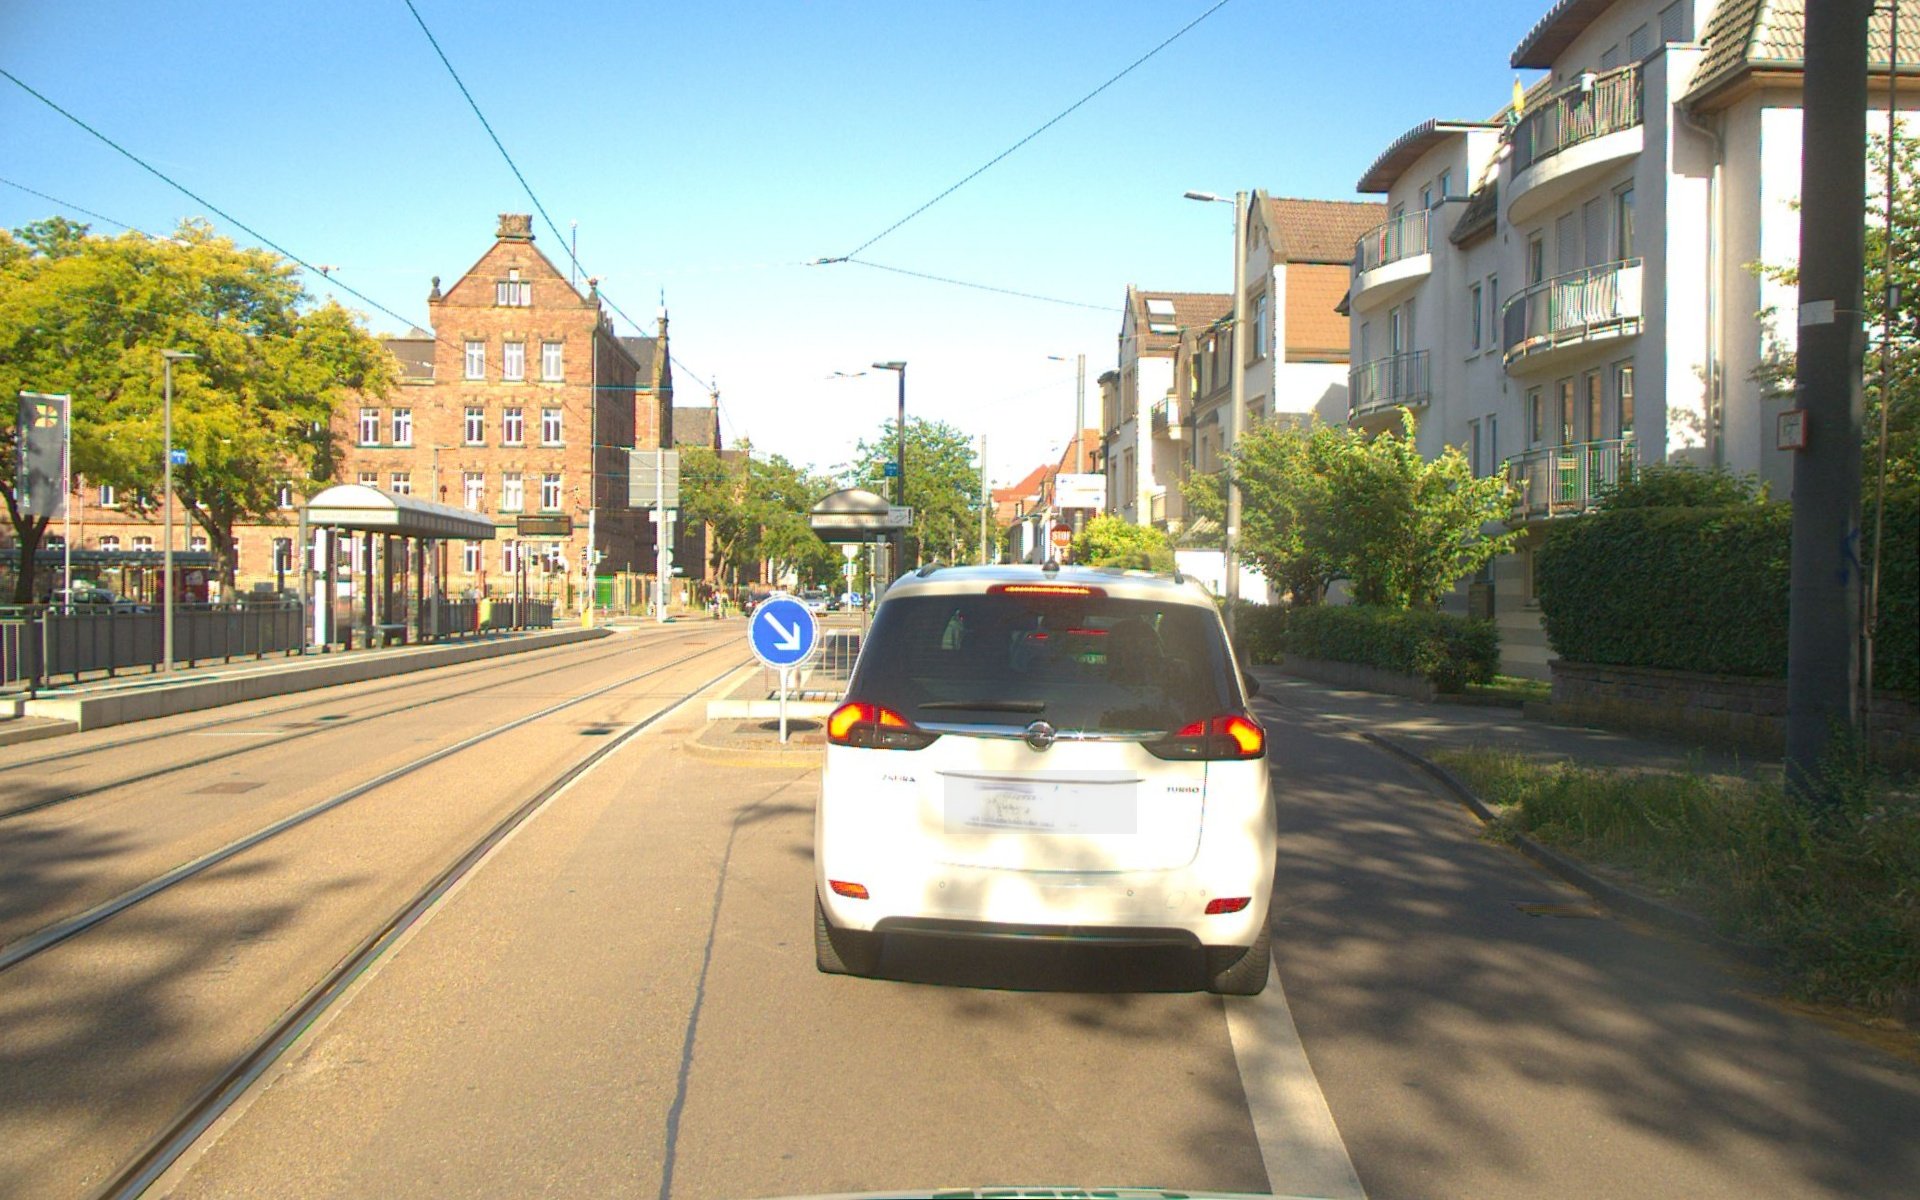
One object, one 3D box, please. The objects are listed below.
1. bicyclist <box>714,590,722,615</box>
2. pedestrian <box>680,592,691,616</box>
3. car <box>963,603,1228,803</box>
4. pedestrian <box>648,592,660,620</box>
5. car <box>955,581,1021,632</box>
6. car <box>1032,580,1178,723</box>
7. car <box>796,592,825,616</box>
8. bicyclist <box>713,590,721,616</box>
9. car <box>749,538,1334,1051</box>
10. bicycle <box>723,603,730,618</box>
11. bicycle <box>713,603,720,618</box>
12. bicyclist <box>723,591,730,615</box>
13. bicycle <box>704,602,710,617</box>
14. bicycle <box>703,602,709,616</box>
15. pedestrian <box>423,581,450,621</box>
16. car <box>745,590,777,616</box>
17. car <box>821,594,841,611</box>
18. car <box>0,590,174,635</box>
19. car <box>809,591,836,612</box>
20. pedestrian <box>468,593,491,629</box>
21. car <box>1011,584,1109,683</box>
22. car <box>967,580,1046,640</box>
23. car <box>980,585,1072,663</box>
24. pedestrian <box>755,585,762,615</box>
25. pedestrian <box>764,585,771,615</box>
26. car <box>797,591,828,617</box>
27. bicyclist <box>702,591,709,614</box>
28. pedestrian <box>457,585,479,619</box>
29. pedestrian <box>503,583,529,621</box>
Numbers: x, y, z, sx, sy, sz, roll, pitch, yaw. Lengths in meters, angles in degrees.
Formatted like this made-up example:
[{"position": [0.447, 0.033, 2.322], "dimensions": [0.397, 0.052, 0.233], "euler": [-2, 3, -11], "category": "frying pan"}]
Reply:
[{"position": [-15.563, 0.181, 106.317], "dimensions": [0.435, 1.580, 0.495], "euler": [0, 0, -4], "category": "bicyclist"}, {"position": [-20.837, 0.308, 125.662], "dimensions": [0.720, 1.744, 0.753], "euler": [1, -1, -6], "category": "pedestrian"}, {"position": [1.032, 0.748, 13.976], "dimensions": [1.912, 1.422, 4.001], "euler": [0, 0, 1], "category": "car"}, {"position": [-19.255, 0.386, 103.998], "dimensions": [0.721, 1.744, 0.705], "euler": [1, -1, -10], "category": "pedestrian"}, {"position": [0.835, 0.190, 51.760], "dimensions": [1.953, 1.529, 3.999], "euler": [0, 0, -1], "category": "car"}, {"position": [1.743, 0.585, 20.835], "dimensions": [1.603, 1.629, 3.855], "euler": [0, 0, 1], "category": "car"}, {"position": [-10.339, 0.257, 114.246], "dimensions": [1.955, 1.657, 3.996], "euler": [0, 0, -5], "category": "car"}, {"position": [-15.142, 0.173, 103.041], "dimensions": [0.435, 1.580, 0.742], "euler": [0, 0, -4], "category": "bicyclist"}, {"position": [0.457, 0.649, 7.589], "dimensions": [1.951, 1.673, 3.996], "euler": [1, 0, 6], "category": "car"}, {"position": [-15.382, 0.670, 108.911], "dimensions": [0.337, 0.966, 0.996], "euler": [1, 0, -4], "category": "bicycle"}, {"position": [-15.151, 0.649, 102.833], "dimensions": [0.337, 0.966, 1.159], "euler": [1, 0, -4], "category": "bicycle"}, {"position": [-15.371, 0.195, 108.905], "dimensions": [0.435, 1.580, 0.495], "euler": [0, 0, -4], "category": "bicyclist"}, {"position": [-17.305, 0.654, 113.028], "dimensions": [0.337, 0.966, 0.996], "euler": [1, 0, -4], "category": "bicycle"}, {"position": [-17.643, 0.656, 114.853], "dimensions": [0.337, 0.966, 0.996], "euler": [1, 0, -4], "category": "bicycle"}, {"position": [-22.821, 0.030, 72.130], "dimensions": [0.825, 1.721, 1.029], "euler": [1, 0, -1], "category": "pedestrian"}, {"position": [-12.845, 0.192, 106.880], "dimensions": [1.955, 1.657, 3.996], "euler": [0, 0, -5], "category": "car"}, {"position": [-12.761, 0.249, 163.188], "dimensions": [1.955, 1.657, 3.984], "euler": [0, 0, -5], "category": "car"}, {"position": [-39.345, 0.531, 74.032], "dimensions": [6.810, 1.954, 2.991], "euler": [0, 0, -2], "category": "car"}, {"position": [-11.043, 0.127, 133.206], "dimensions": [1.953, 1.657, 3.998], "euler": [0, 0, -3], "category": "car"}, {"position": [-22.210, 0.504, 76.444], "dimensions": [0.786, 1.616, 0.934], "euler": [1, 0, -3], "category": "pedestrian"}, {"position": [1.717, 0.550, 29.263], "dimensions": [1.603, 1.629, 3.855], "euler": [0, 0, 1], "category": "car"}, {"position": [1.205, 0.257, 44.304], "dimensions": [1.953, 1.529, 3.999], "euler": [0, 0, -1], "category": "car"}, {"position": [1.383, 0.492, 36.183], "dimensions": [1.793, 1.607, 4.009], "euler": [0, 0, -1], "category": "car"}, {"position": [-13.635, 0.002, 111.748], "dimensions": [0.435, 2.049, 0.495], "euler": [0, 0, -4], "category": "pedestrian"}, {"position": [-13.051, 0.014, 112.040], "dimensions": [0.435, 2.049, 0.495], "euler": [0, 0, -4], "category": "pedestrian"}, {"position": [-9.535, 0.242, 107.153], "dimensions": [1.955, 1.657, 3.996], "euler": [0, 0, -5], "category": "car"}, {"position": [-17.637, 0.180, 114.816], "dimensions": [0.435, 1.580, 0.495], "euler": [0, 0, -4], "category": "bicyclist"}, {"position": [-23.670, 0.087, 79.609], "dimensions": [0.786, 1.616, 0.934], "euler": [1, 0, -3], "category": "pedestrian"}, {"position": [-20.195, 0.081, 75.300], "dimensions": [0.877, 1.713, 1.029], "euler": [1, 0, -1], "category": "pedestrian"}]
